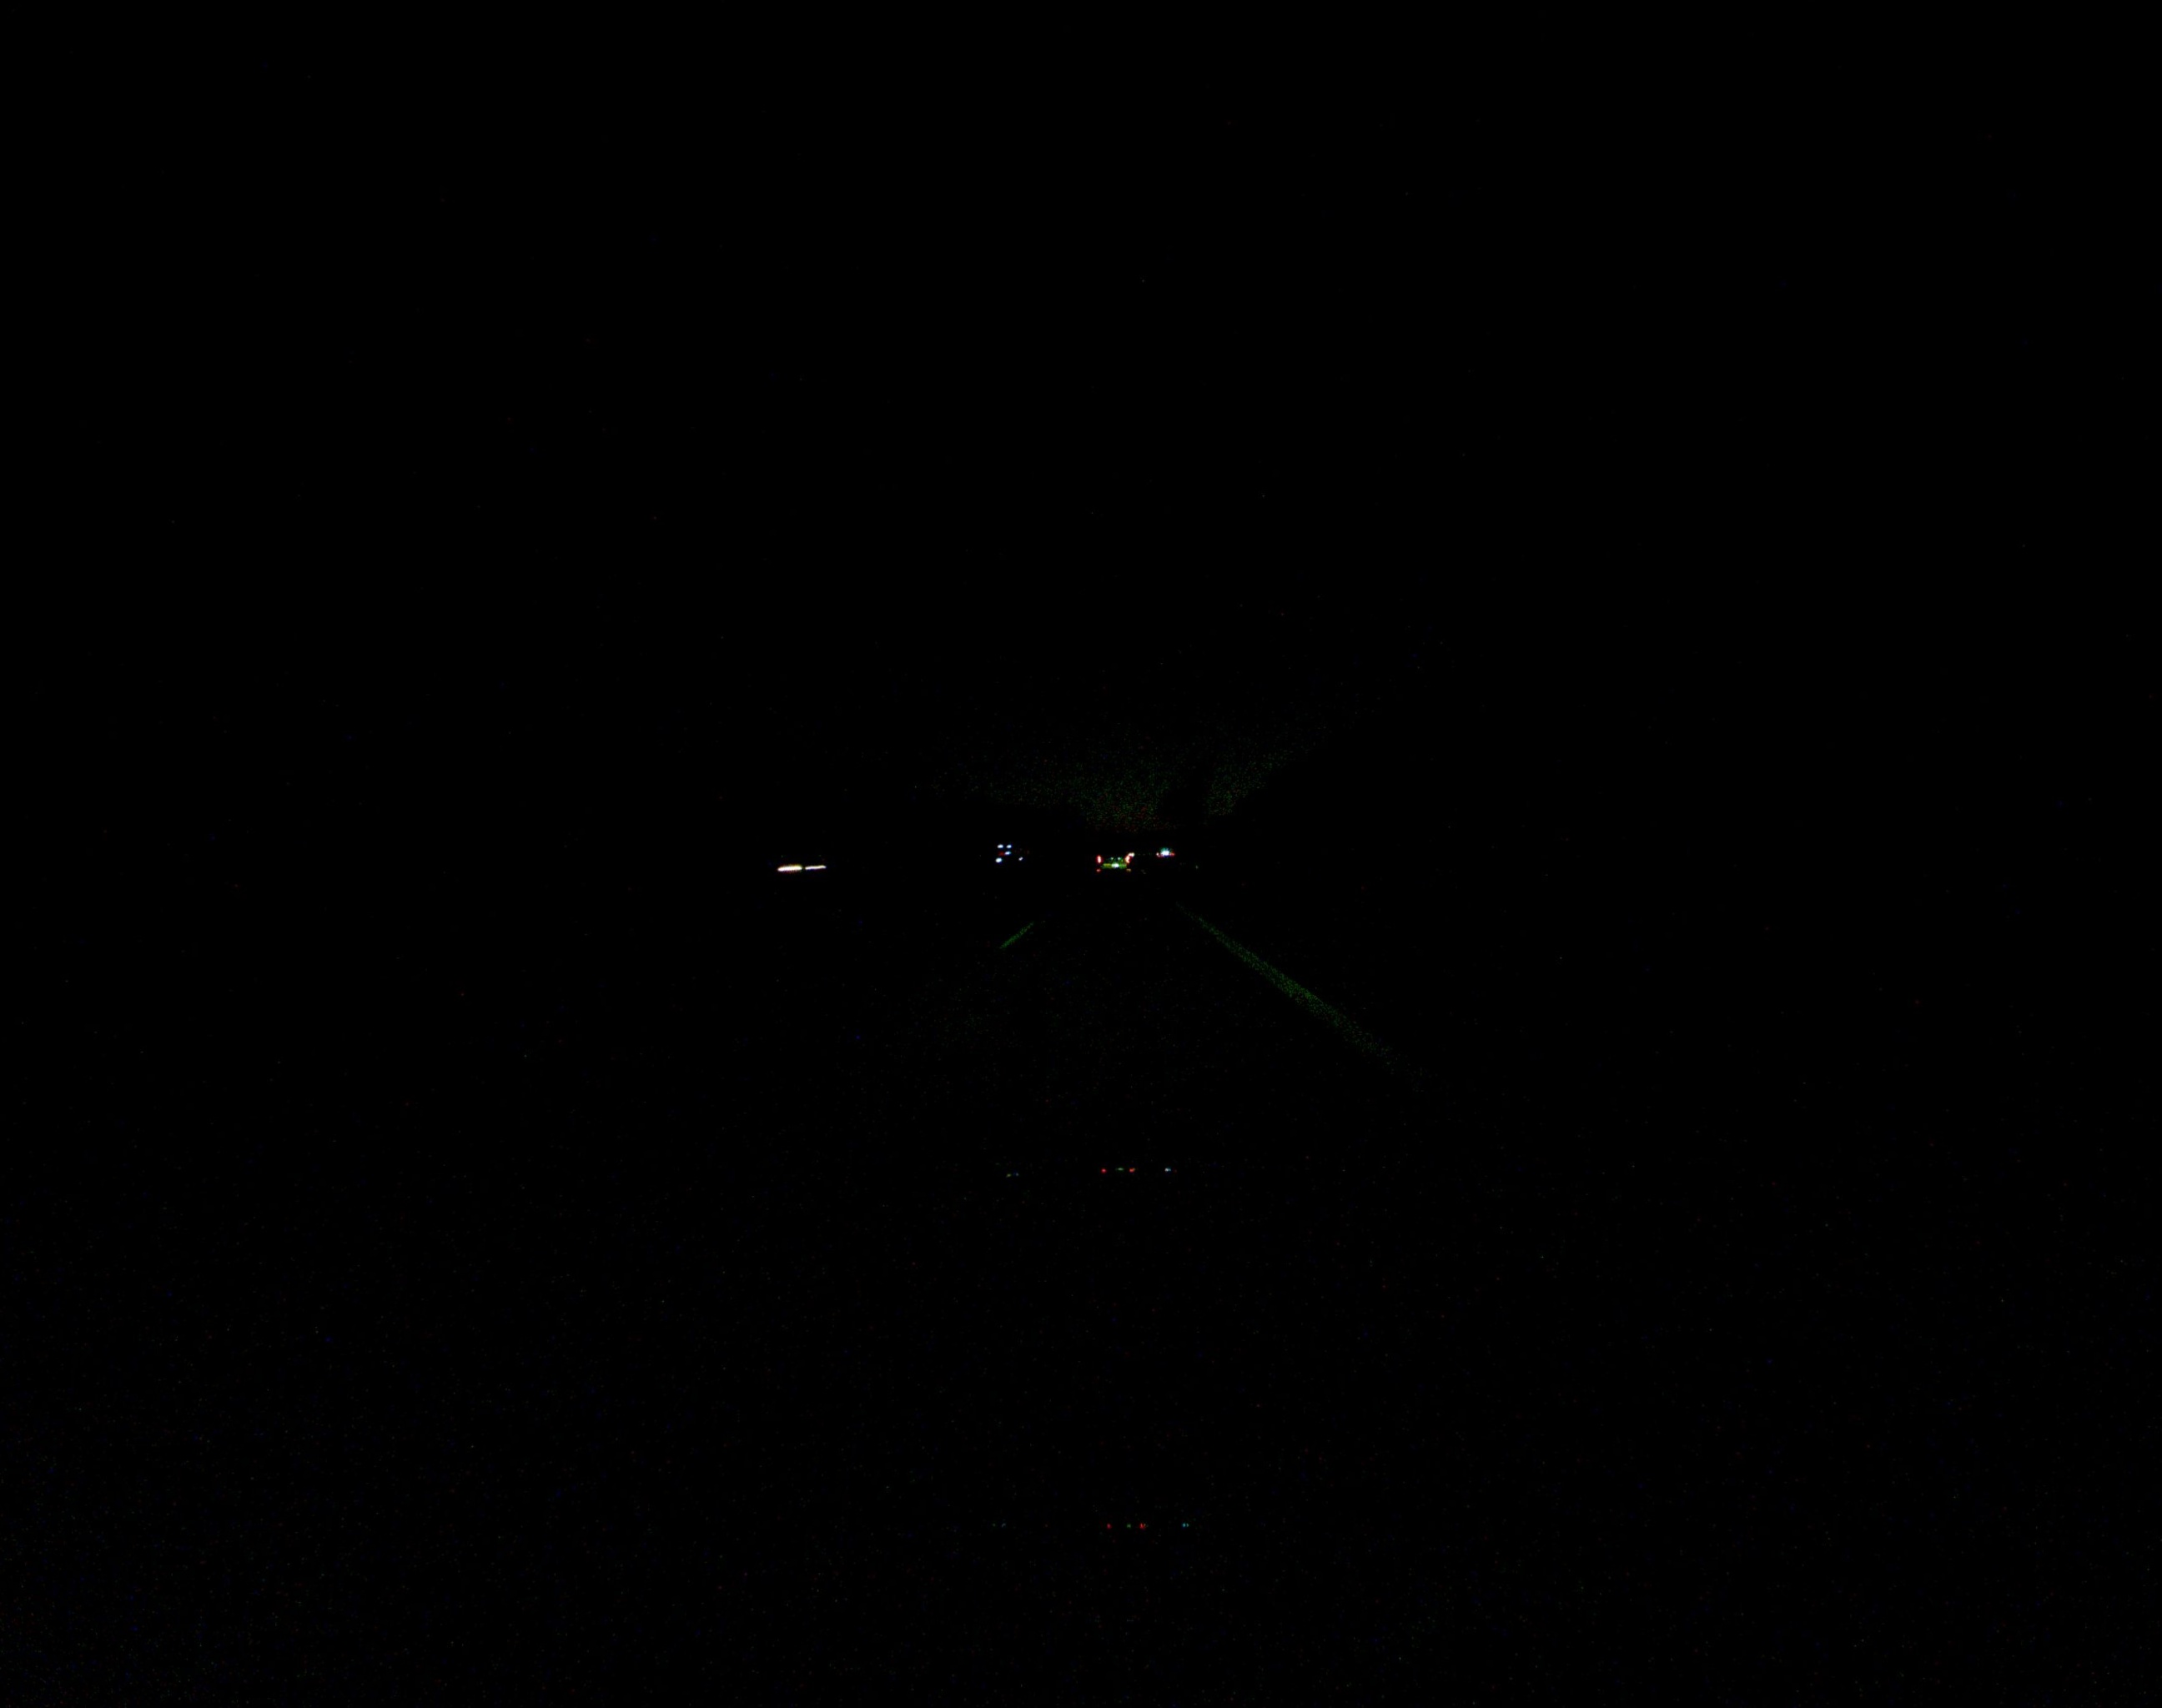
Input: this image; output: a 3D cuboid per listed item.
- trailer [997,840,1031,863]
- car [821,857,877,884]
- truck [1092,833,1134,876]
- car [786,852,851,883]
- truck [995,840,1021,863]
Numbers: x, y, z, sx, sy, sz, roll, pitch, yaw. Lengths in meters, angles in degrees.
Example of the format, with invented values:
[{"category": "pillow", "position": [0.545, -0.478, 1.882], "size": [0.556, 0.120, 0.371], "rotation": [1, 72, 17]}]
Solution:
[{"category": "trailer", "position": [-12.434, -0.362, 152.823], "size": [3.526, 4.000, 17.303], "rotation": [-1, -1, 4]}, {"category": "car", "position": [-13.491, 0.943, 47.565], "size": [1.895, 1.505, 4.276], "rotation": [-1, -1, 2]}, {"category": "truck", "position": [2.159, 0.079, 55.527], "size": [2.620, 2.624, 8.688], "rotation": [-1, -1, 2]}, {"category": "car", "position": [-16.550, 0.839, 51.712], "size": [1.985, 1.821, 5.691], "rotation": [-1, -1, 3]}, {"category": "truck", "position": [-12.983, -0.427, 145.912], "size": [3.486, 3.970, 6.708], "rotation": [-1, -1, 5]}]
